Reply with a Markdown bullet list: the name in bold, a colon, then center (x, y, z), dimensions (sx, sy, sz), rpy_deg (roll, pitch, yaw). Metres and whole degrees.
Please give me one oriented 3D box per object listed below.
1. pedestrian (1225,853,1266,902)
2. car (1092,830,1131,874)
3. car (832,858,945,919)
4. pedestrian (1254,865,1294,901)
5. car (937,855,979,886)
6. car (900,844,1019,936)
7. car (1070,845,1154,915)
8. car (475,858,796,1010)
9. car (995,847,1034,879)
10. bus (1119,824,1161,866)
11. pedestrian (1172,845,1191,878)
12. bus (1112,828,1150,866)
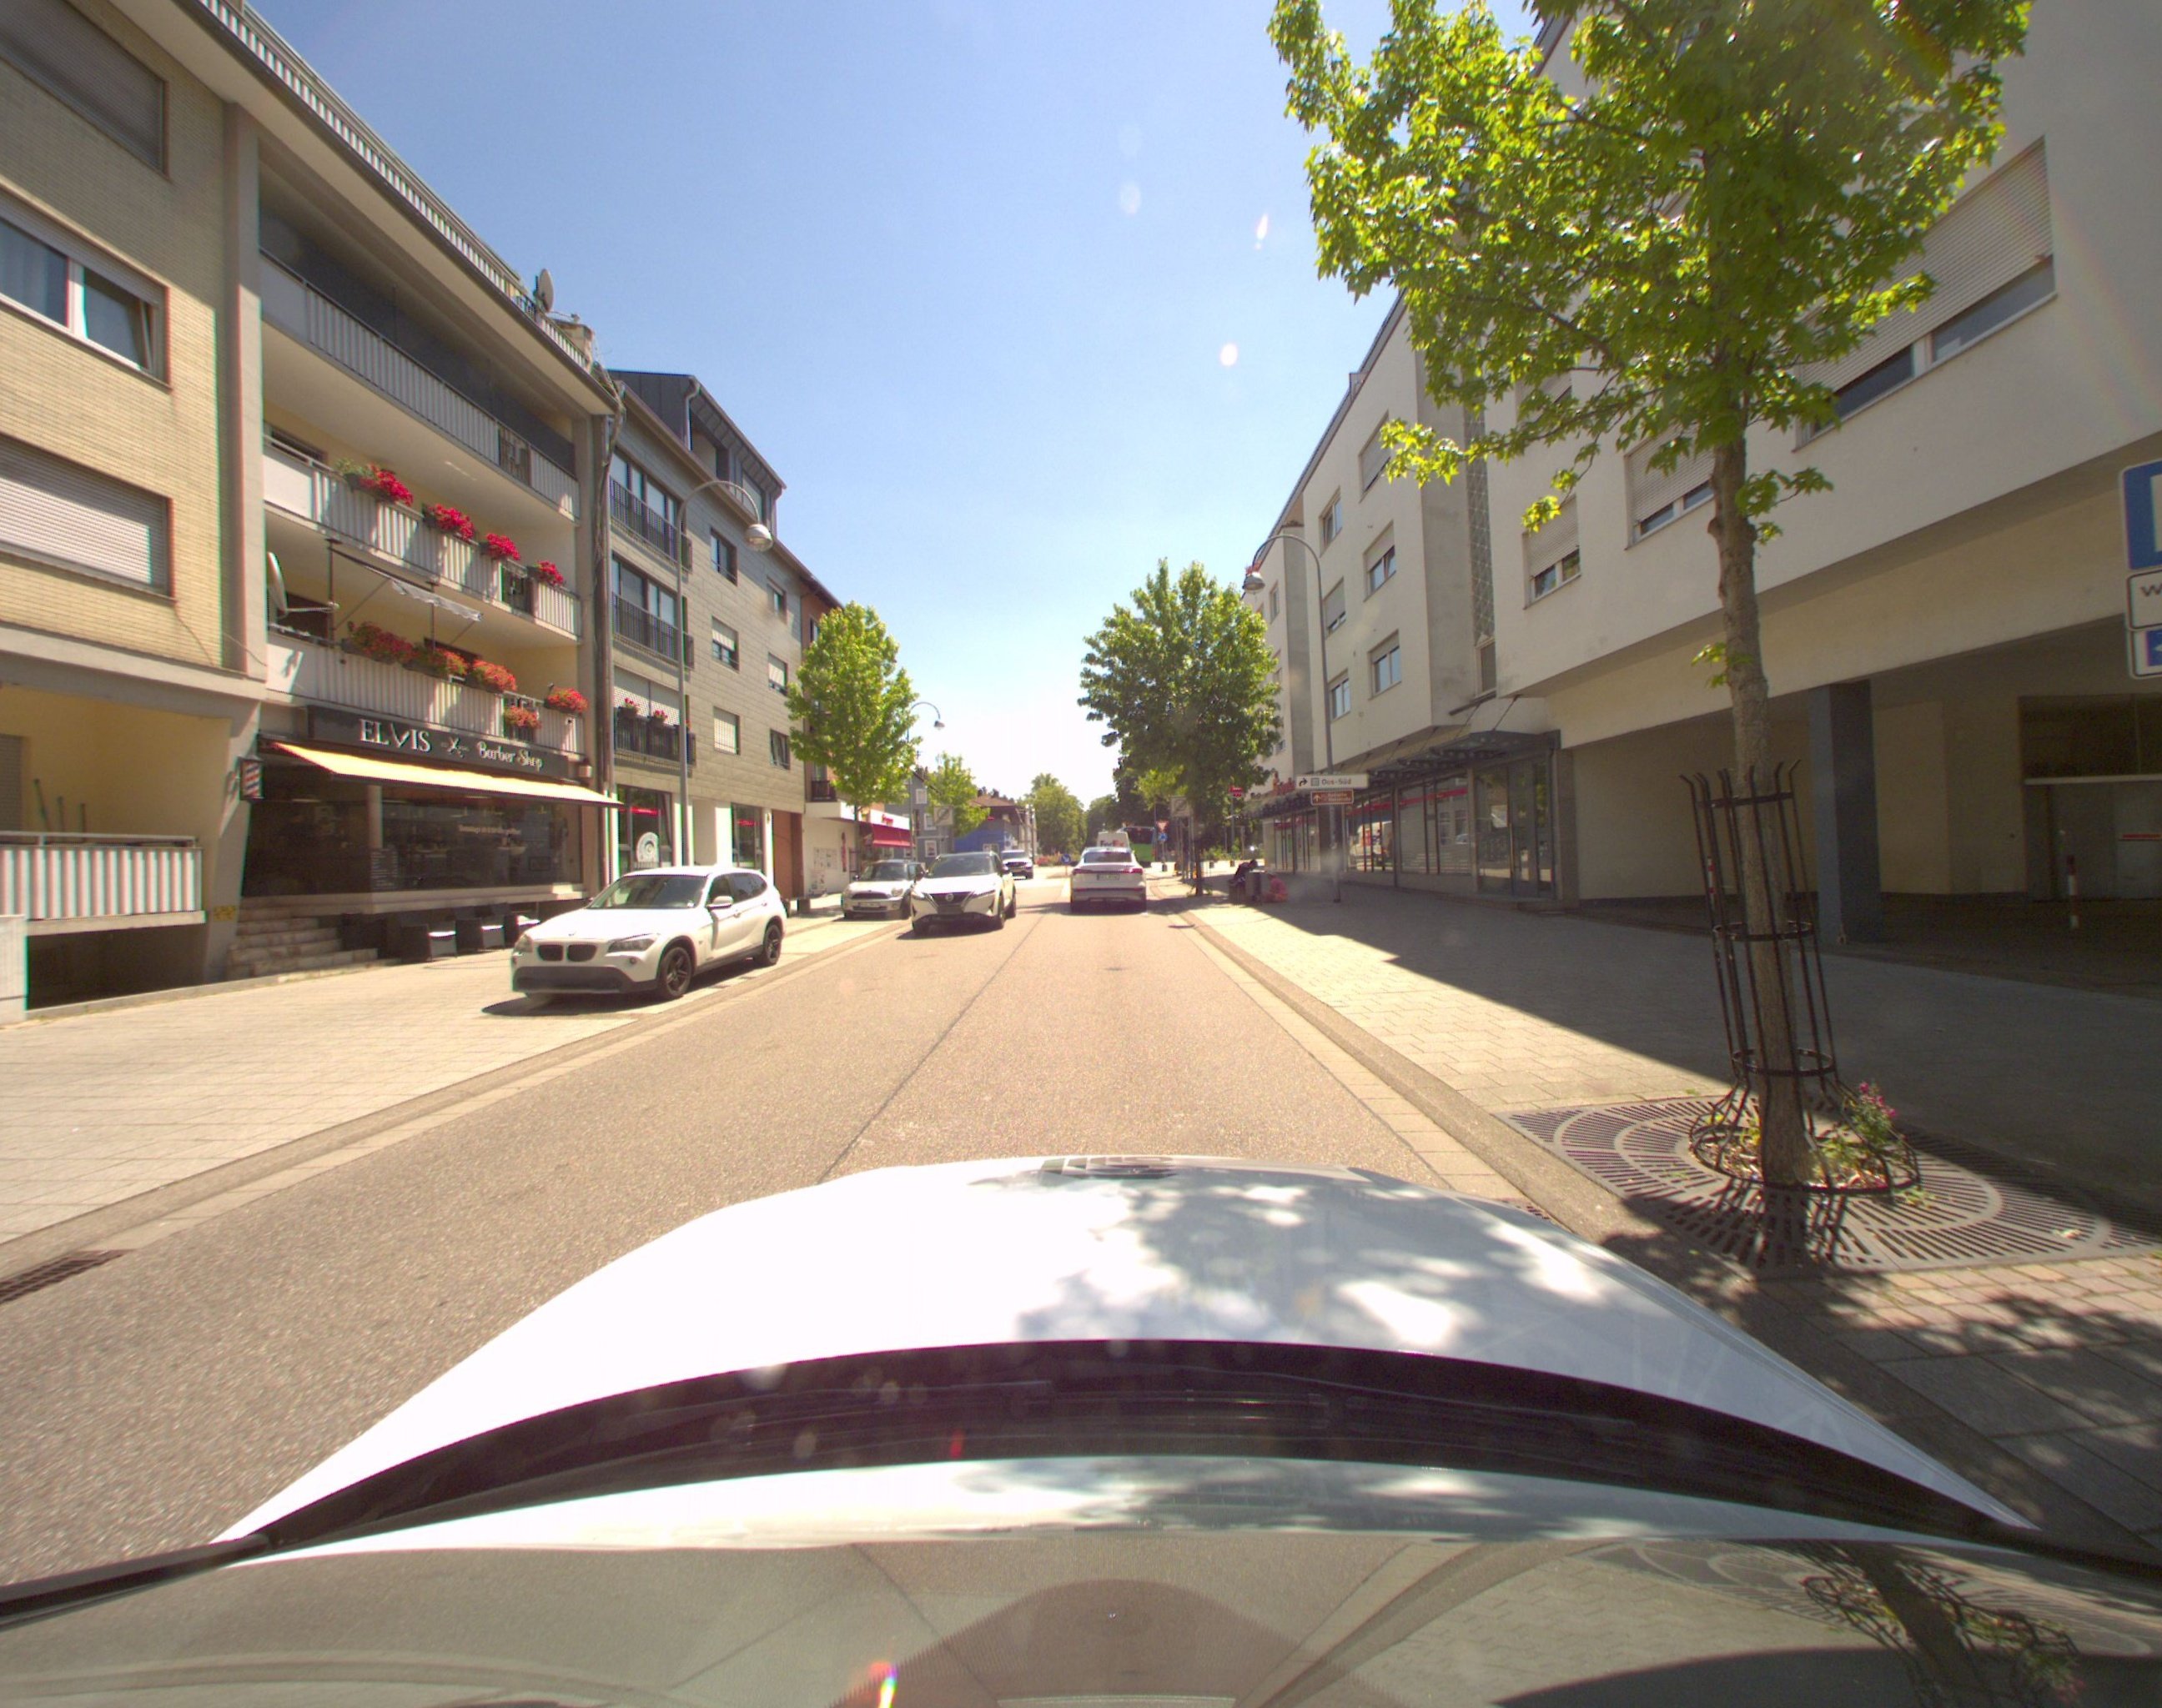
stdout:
- **pedestrian**: center (4.336, 0.607, 21.512), dimensions (0.903, 1.236, 0.648), rpy_deg (-2, 0, 0)
- **car**: center (1.777, -0.079, 47.955), dimensions (2.148, 2.442, 5.285), rpy_deg (0, -1, 1)
- **car**: center (-5.018, 0.849, 21.841), dimensions (1.745, 1.453, 4.404), rpy_deg (0, 0, 3)
- **pedestrian**: center (4.987, 0.750, 21.032), dimensions (0.901, 0.879, 0.649), rpy_deg (-2, 0, 6)
- **car**: center (-6.439, 0.824, 43.032), dimensions (1.834, 1.495, 3.994), rpy_deg (-2, 0, -4)
- **car**: center (-2.517, 0.704, 17.913), dimensions (1.850, 1.692, 4.150), rpy_deg (-3, 0, 1)
- **car**: center (0.743, 0.623, 21.446), dimensions (1.987, 1.633, 3.999), rpy_deg (-1, 0, 0)
- **car**: center (-5.573, 0.874, 10.977), dimensions (1.745, 1.618, 4.403), rpy_deg (0, 0, 2)
- **car**: center (-3.914, 0.511, 47.564), dimensions (1.866, 1.757, 3.985), rpy_deg (0, -1, -11)
- **bus**: center (4.725, -0.657, 66.312), dimensions (2.654, 3.221, 7.296), rpy_deg (0, -1, -2)
- **pedestrian**: center (4.716, 0.351, 38.274), dimensions (0.582, 1.502, 0.715), rpy_deg (-2, 0, -17)
- **bus**: center (4.455, -0.605, 73.617), dimensions (2.654, 3.209, 7.445), rpy_deg (-2, 0, -2)
